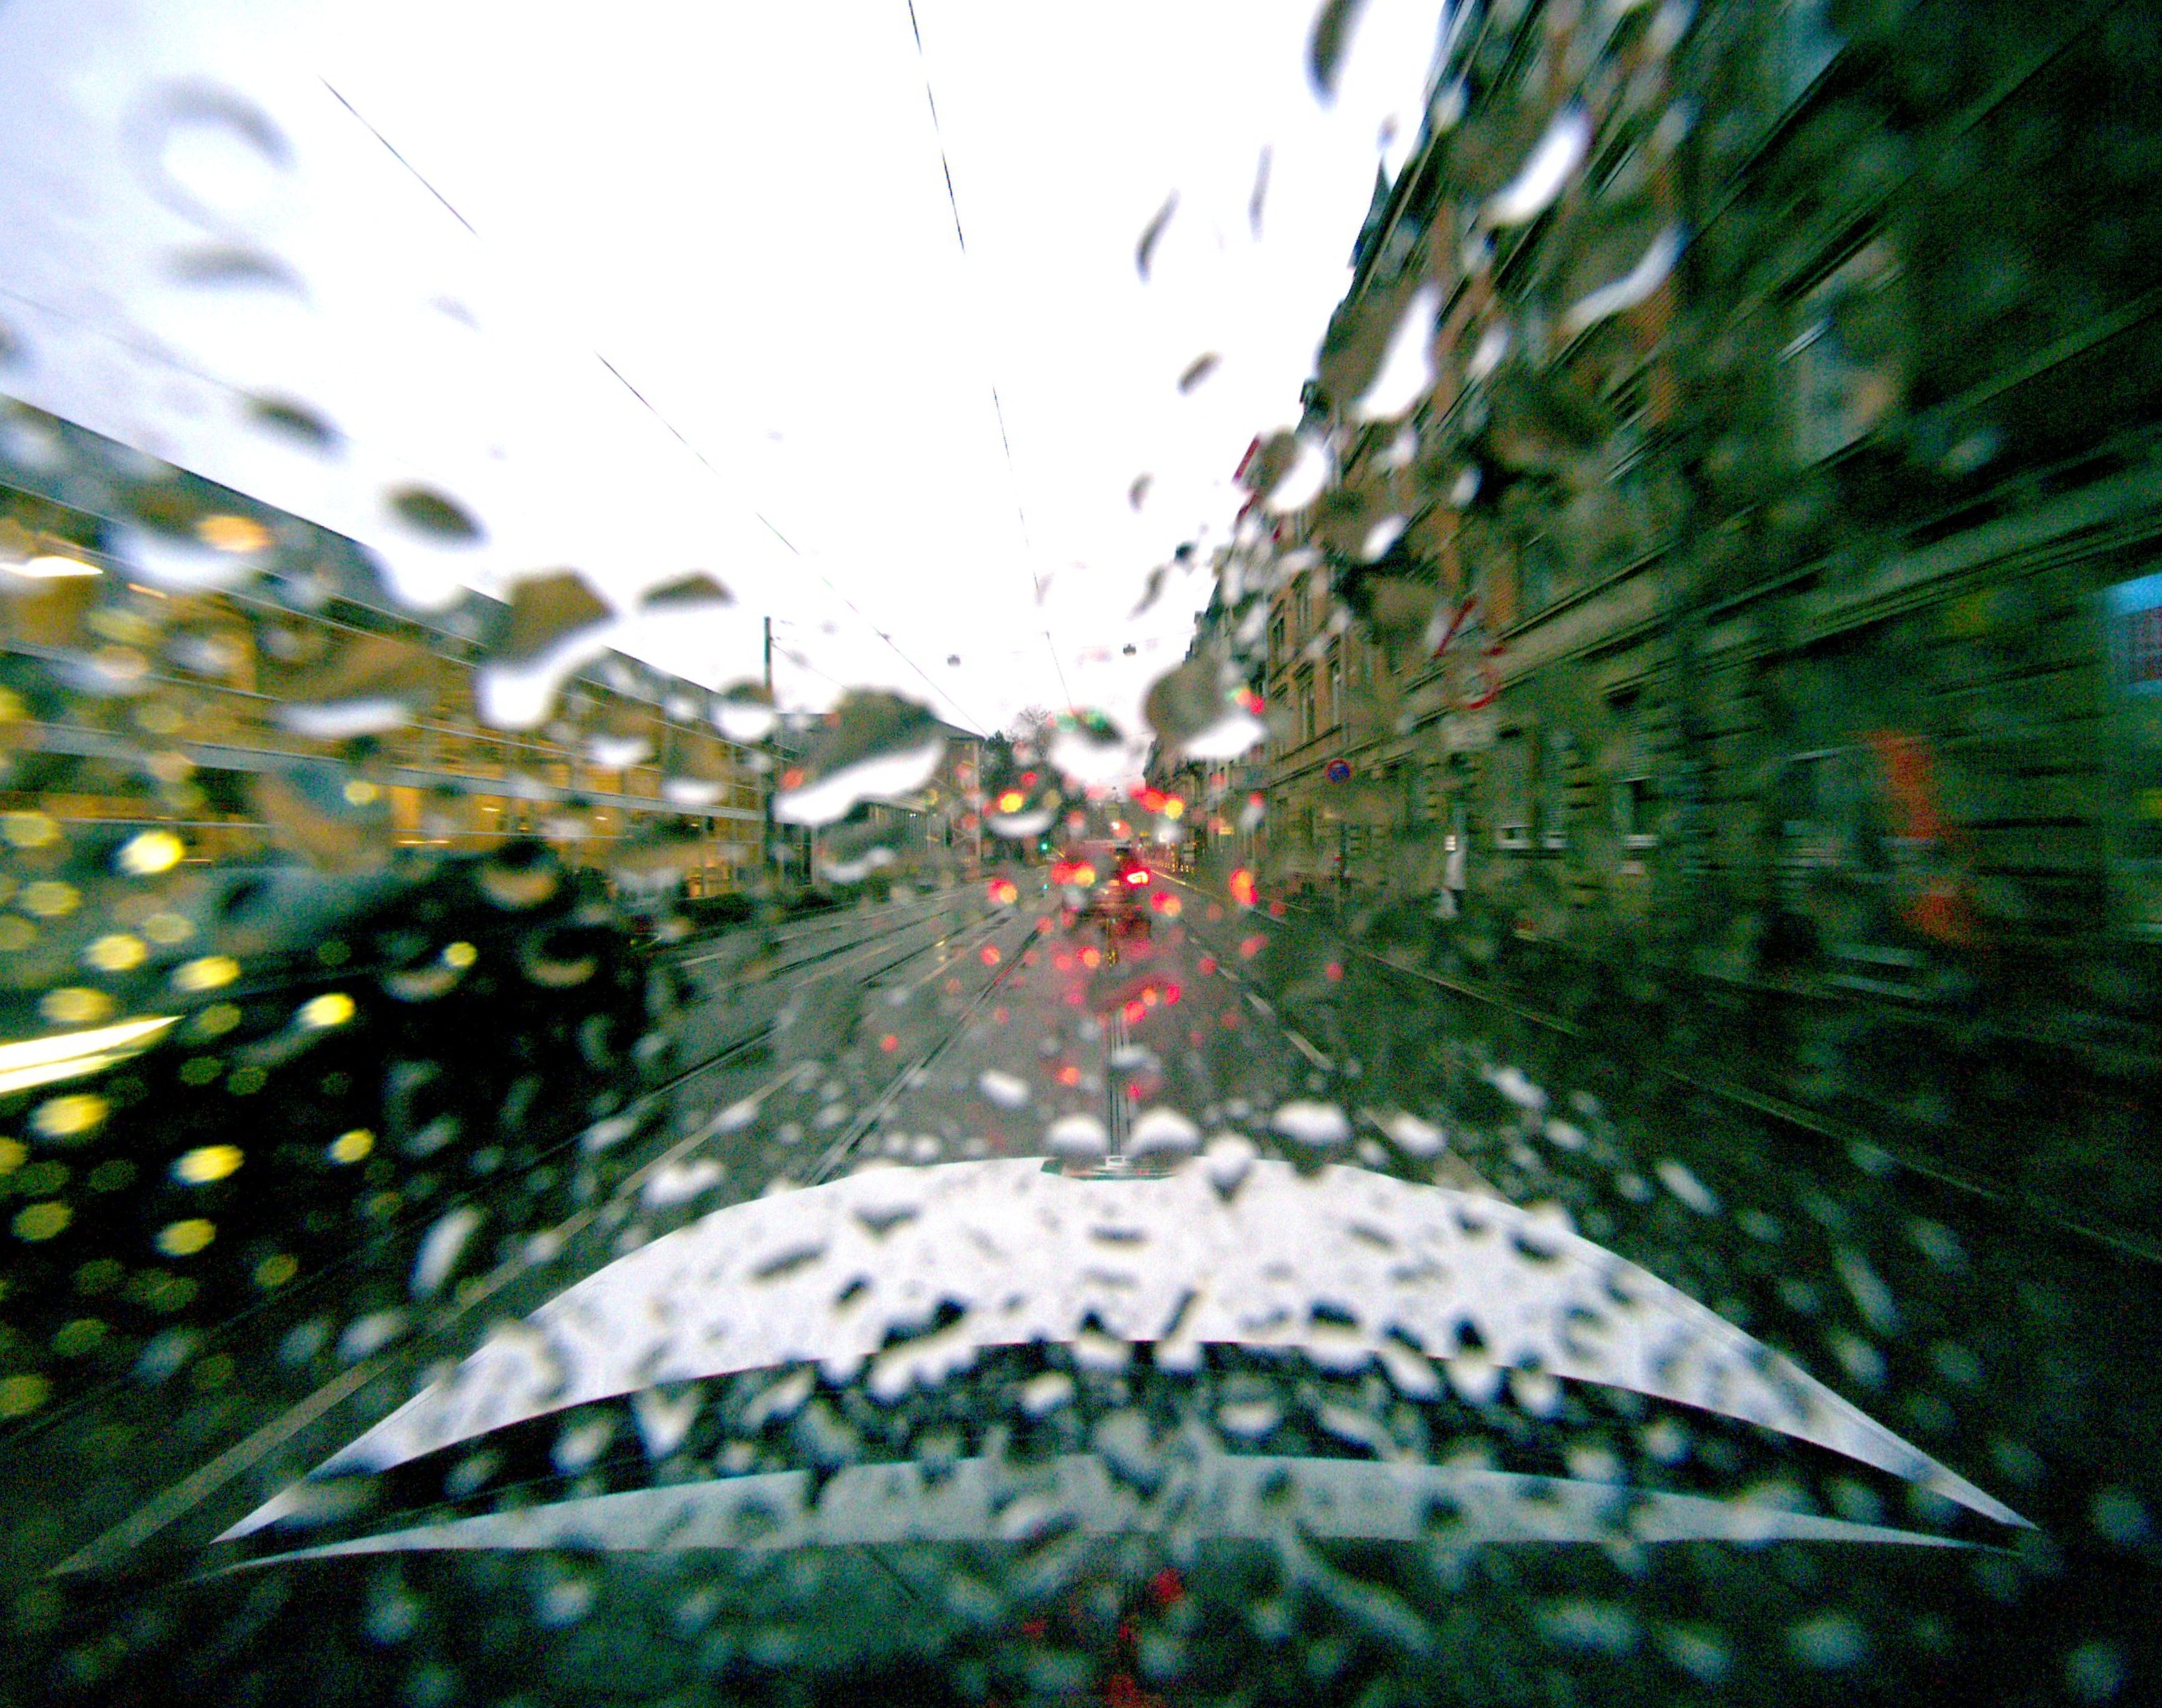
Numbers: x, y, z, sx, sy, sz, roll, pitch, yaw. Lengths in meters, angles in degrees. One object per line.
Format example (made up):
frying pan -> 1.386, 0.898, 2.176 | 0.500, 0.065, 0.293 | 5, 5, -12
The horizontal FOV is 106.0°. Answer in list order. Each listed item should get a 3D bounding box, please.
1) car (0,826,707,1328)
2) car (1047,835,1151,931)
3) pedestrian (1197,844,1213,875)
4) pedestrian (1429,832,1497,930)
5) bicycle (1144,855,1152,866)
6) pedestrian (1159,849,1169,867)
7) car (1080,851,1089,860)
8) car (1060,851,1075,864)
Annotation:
car -> -4.204, 0.722, 4.636 | 1.833, 1.578, 4.446 | -2, 0, 3
car -> 0.514, 0.568, 17.838 | 1.984, 1.842, 4.005 | -1, 0, 5
pedestrian -> 7.479, 0.336, 48.983 | 0.601, 1.818, 0.769 | 0, -1, -26
pedestrian -> 6.477, 0.452, 13.835 | 0.783, 1.597, 0.742 | -2, 0, 2
bicycle -> 6.822, 0.657, 82.497 | 0.681, 1.156, 2.189 | -1, 0, 2
pedestrian -> 7.931, 0.429, 78.016 | 0.829, 1.701, 0.956 | -1, -1, 10
car -> 0.640, 0.242, 143.943 | 1.524, 1.481, 3.563 | -1, 0, 2
car -> -1.811, 0.476, 114.583 | 1.868, 1.709, 4.761 | -2, 0, 1
